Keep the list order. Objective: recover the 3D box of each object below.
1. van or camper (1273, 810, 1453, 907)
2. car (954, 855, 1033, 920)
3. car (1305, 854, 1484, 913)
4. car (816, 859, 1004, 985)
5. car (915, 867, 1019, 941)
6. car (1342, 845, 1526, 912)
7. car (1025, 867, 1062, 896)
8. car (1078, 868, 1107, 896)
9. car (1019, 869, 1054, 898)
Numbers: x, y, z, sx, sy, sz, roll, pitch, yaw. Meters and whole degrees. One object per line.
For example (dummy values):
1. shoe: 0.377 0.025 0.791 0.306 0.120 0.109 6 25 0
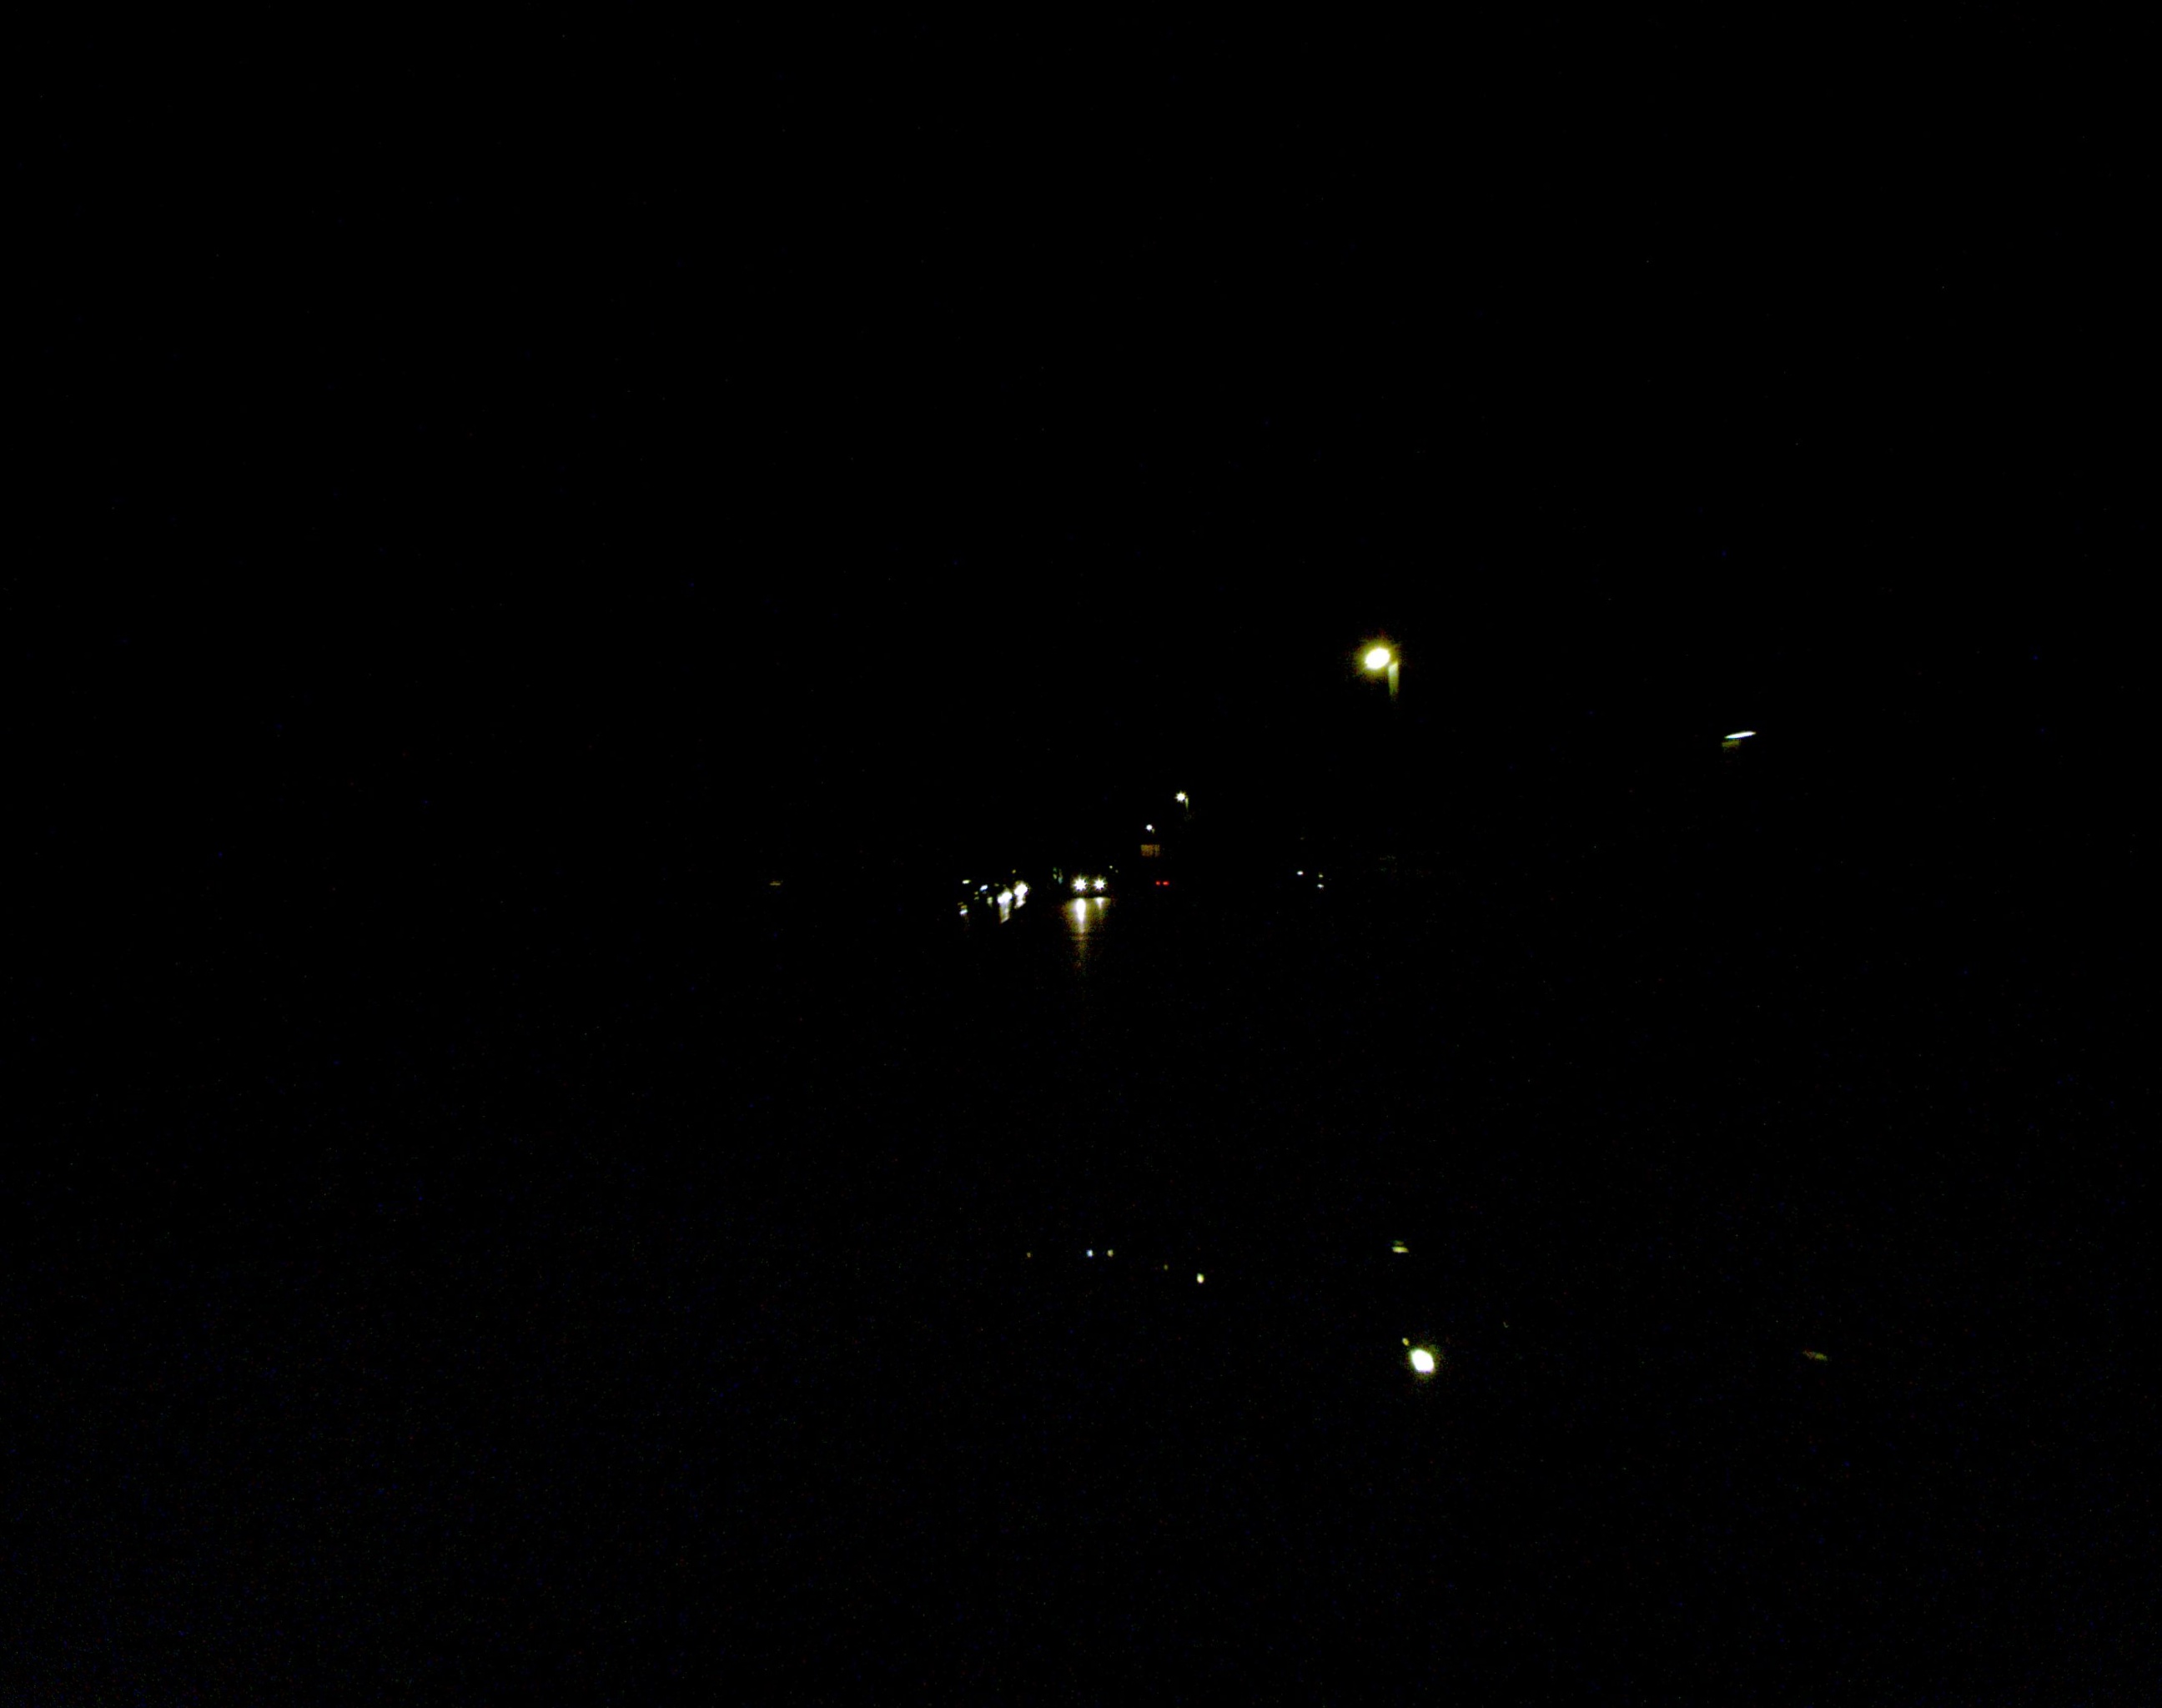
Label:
1. van or camper: 9.653 0.126 26.216 5.416 3.092 2.131 -1 0 -9
2. car: -2.613 0.997 23.809 1.723 1.750 4.759 -2 -1 2
3. car: 9.142 0.835 22.475 4.427 1.604 2.065 -1 0 2
4. car: -2.579 0.947 12.688 1.836 1.654 4.619 -1 0 3
5. car: -2.601 1.102 18.314 1.748 1.462 4.257 -3 -1 0
6. car: 9.017 0.625 19.648 3.820 1.545 1.928 -2 -2 1
7. car: -2.183 1.633 45.587 1.759 1.584 4.730 -2 -2 2
8. car: 0.633 1.536 42.170 1.513 1.492 3.051 -1 -2 1
9. car: -2.361 1.614 41.078 1.613 1.452 3.718 1 -3 1
